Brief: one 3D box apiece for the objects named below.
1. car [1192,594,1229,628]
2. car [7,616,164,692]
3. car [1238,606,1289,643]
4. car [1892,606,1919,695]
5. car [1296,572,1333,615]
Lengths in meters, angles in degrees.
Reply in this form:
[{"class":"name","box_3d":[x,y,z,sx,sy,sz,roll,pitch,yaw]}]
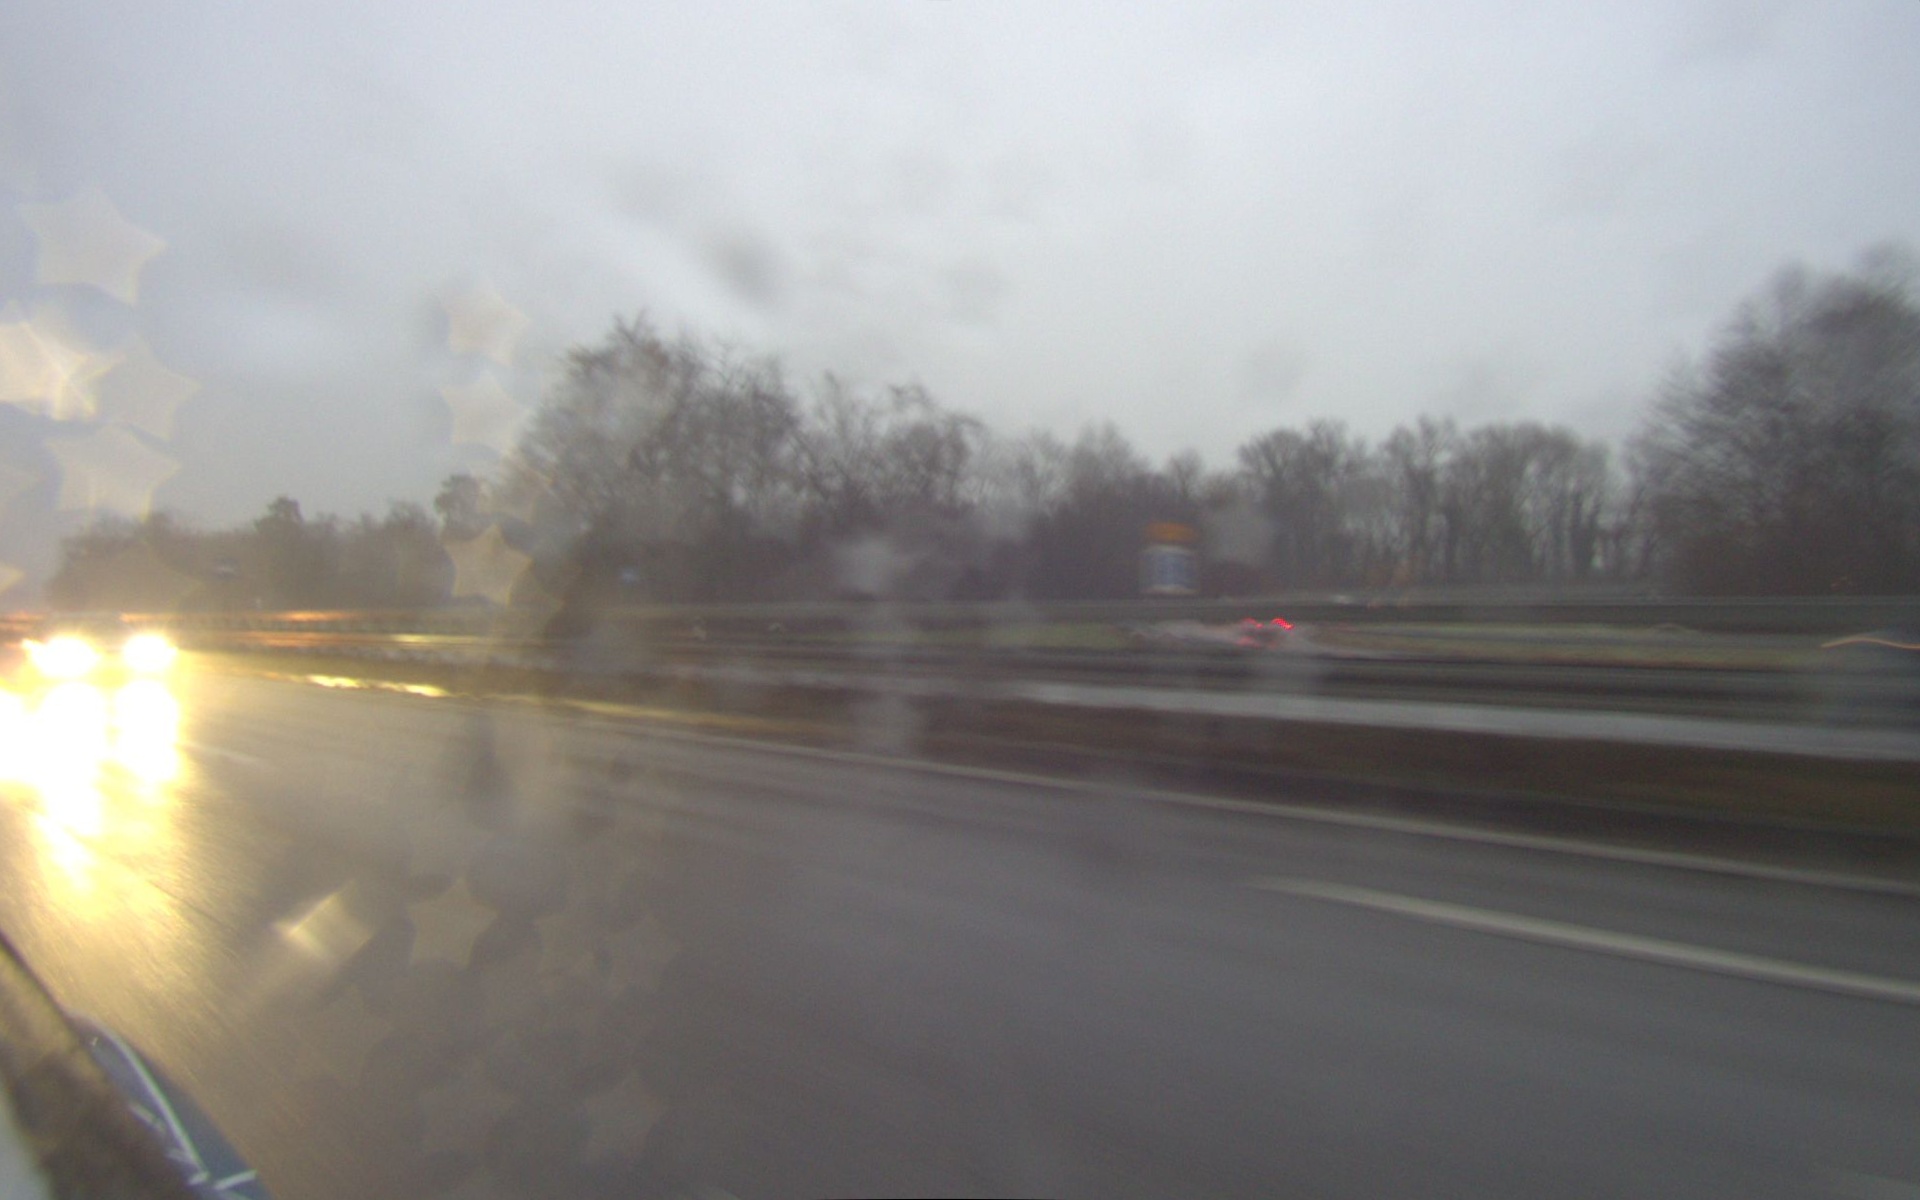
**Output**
[{"class":"car","box_3d":[14.771,0.629,59.609,1.735,1.829,3.974,-1,1,20]},{"class":"car","box_3d":[-19.691,1.153,22.722,4.406,1.479,1.781,-1,0,37]},{"class":"car","box_3d":[14.044,1.106,47.003,1.729,1.498,3.989,-1,1,9]},{"class":"car","box_3d":[18.185,0.866,16.546,1.719,1.498,4.012,-2,1,-30]},{"class":"car","box_3d":[27.366,-0.503,77.994,1.992,2.021,3.975,-4,17,29]}]
